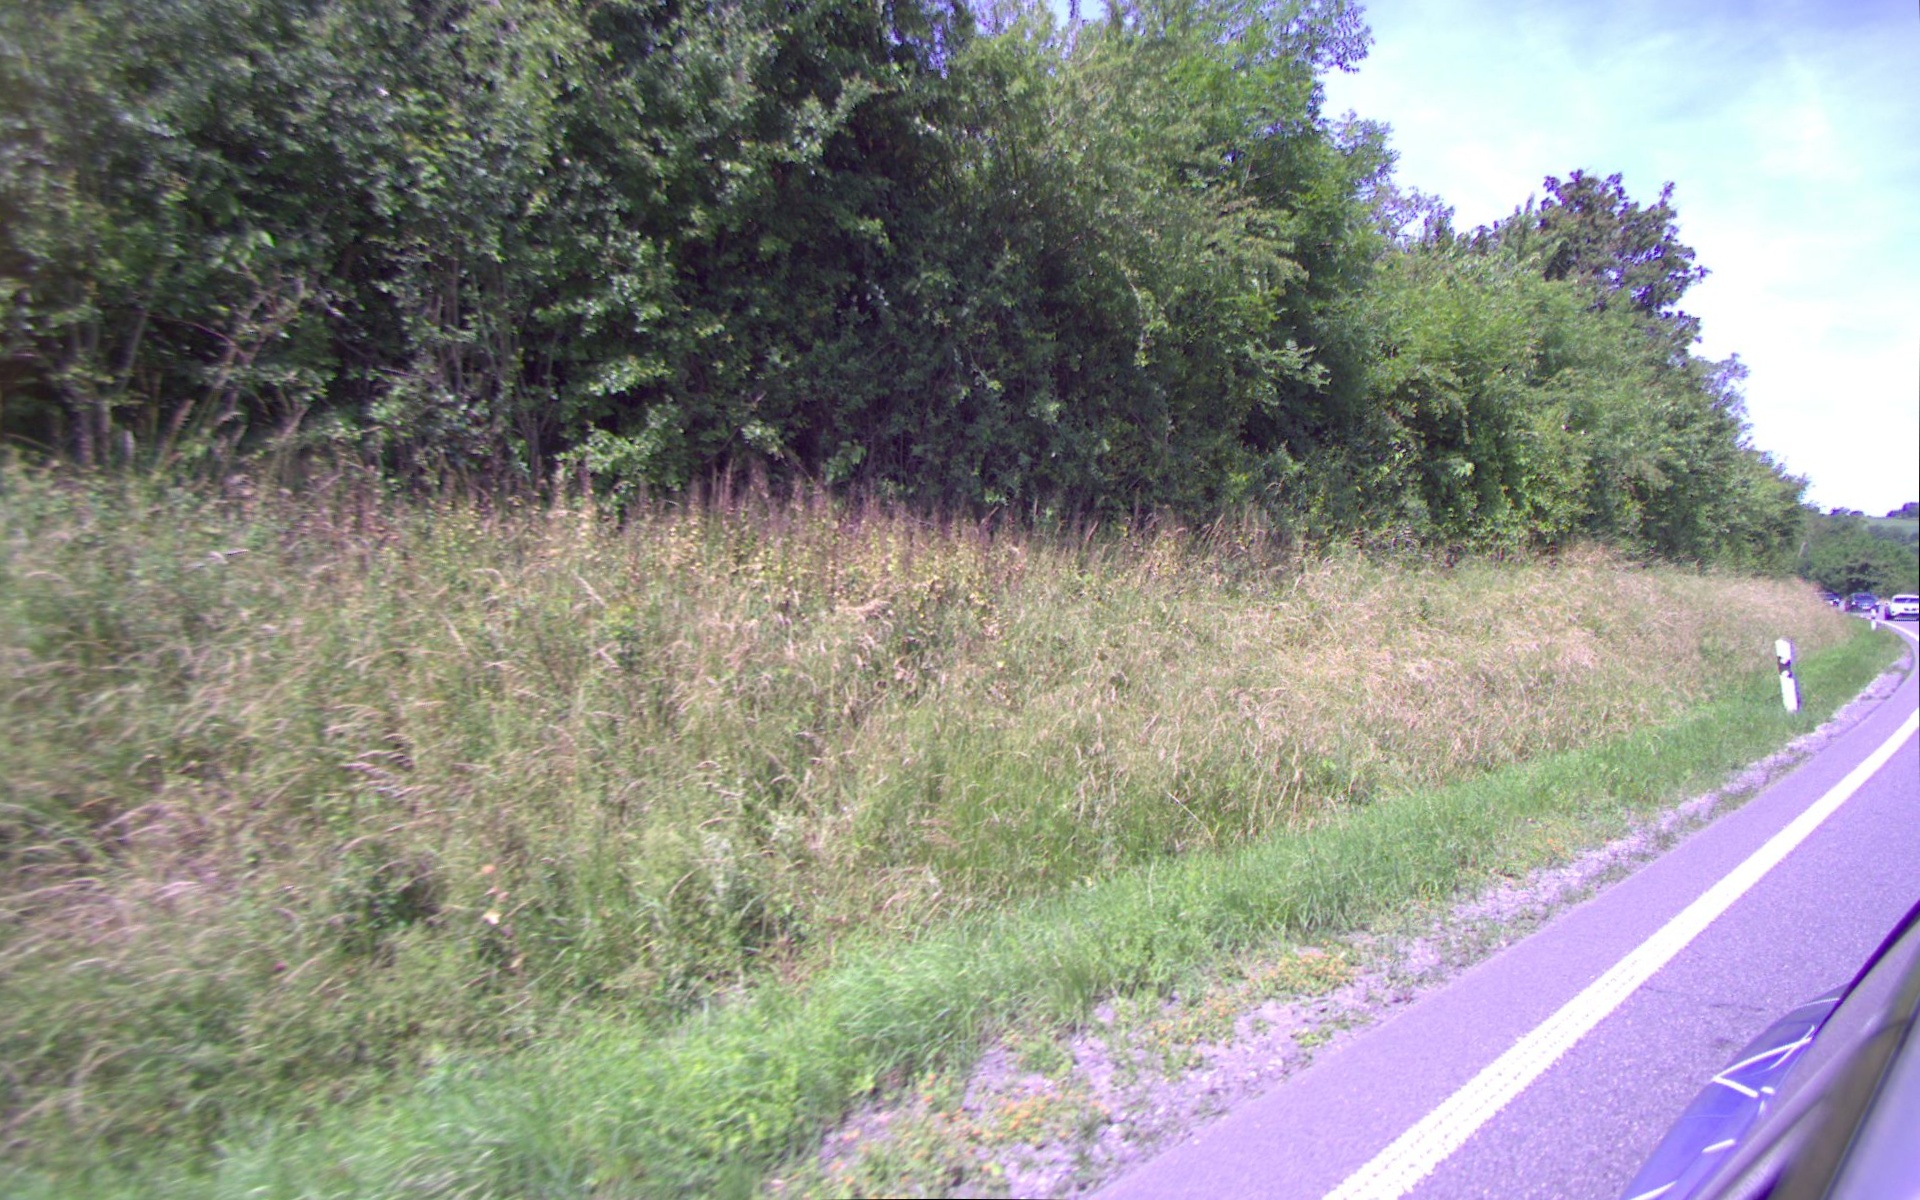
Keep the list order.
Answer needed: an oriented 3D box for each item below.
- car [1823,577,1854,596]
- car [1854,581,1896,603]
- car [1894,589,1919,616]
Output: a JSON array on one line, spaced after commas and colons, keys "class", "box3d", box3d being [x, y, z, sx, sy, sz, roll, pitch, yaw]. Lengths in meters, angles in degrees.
[{"class": "car", "box3d": [85.957, -1.293, 99.080, 1.656, 1.670, 3.952, 6, 5, 33]}, {"class": "car", "box3d": [73.131, -0.640, 80.935, 1.814, 1.537, 3.952, 6, 5, 34]}, {"class": "car", "box3d": [57.491, 0.133, 60.744, 1.859, 1.507, 3.943, 0, 0, 40]}]
